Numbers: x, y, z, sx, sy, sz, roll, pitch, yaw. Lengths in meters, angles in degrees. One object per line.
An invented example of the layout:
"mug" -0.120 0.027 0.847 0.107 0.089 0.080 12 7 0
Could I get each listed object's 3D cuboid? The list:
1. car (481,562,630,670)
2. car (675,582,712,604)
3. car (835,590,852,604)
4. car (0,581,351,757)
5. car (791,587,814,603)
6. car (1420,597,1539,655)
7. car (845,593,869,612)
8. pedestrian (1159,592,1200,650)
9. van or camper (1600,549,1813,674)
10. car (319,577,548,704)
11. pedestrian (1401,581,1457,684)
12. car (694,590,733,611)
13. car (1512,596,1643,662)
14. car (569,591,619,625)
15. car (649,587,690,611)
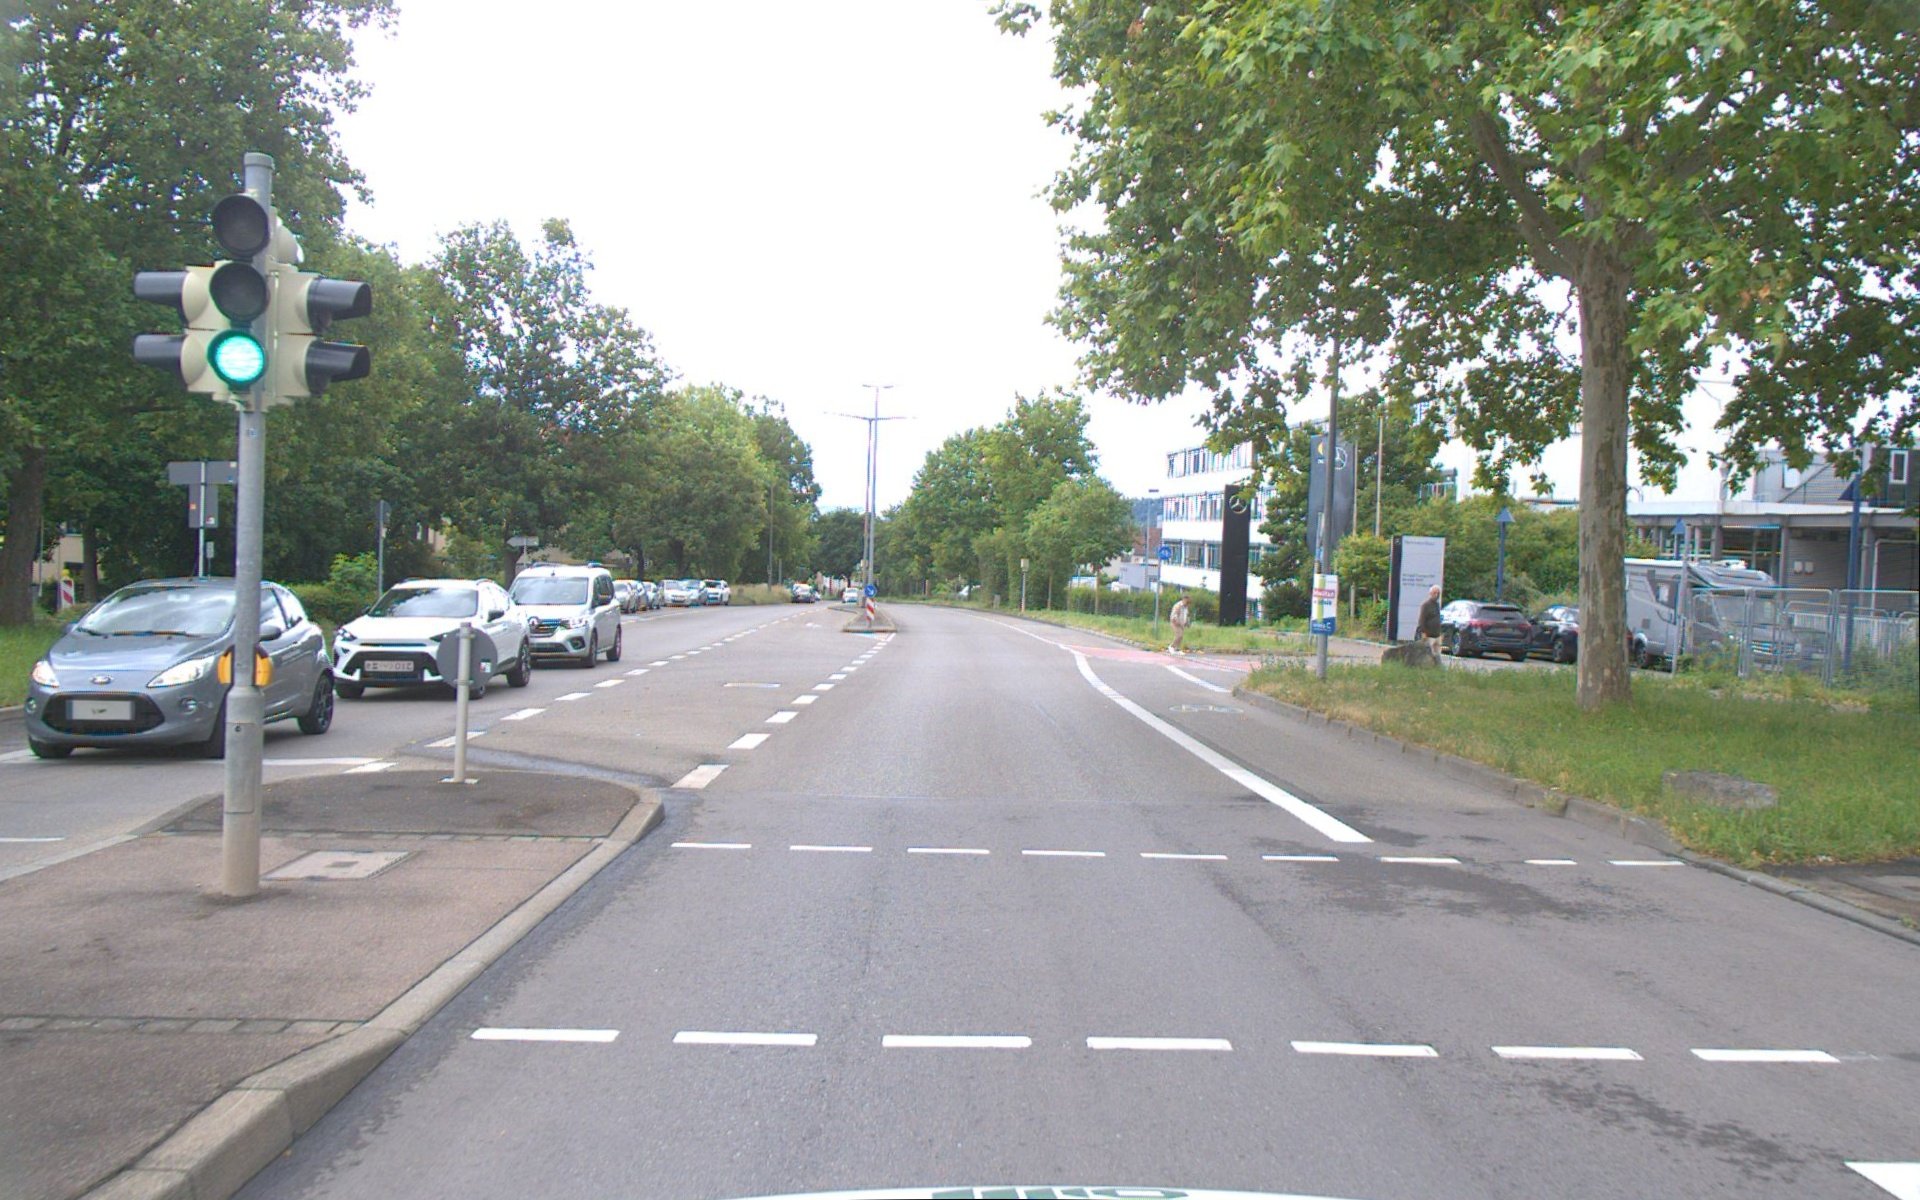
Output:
"car" -7.347 0.251 30.486 1.809 1.835 4.648 0 0 -3
"car" -16.821 -0.458 104.520 1.638 1.327 4.000 2 0 0
"car" -11.934 -0.325 169.590 1.579 1.327 3.998 2 0 -2
"car" -6.793 0.520 14.709 1.516 1.354 3.652 0 0 -2
"car" -14.022 -0.473 147.585 1.736 1.327 3.998 2 0 -2
"car" 13.505 0.649 43.263 1.676 1.378 4.343 1 0 -1
"car" -7.506 0.176 120.299 1.579 1.327 3.998 2 0 -2
"pedestrian" 5.754 0.547 43.359 0.777 1.489 0.744 1 0 -20
"van or camper" 18.988 0.246 42.547 1.926 2.918 6.915 1 0 -4
"car" -7.078 0.481 22.780 1.809 1.547 4.813 0 0 -3
"pedestrian" 8.526 0.576 30.075 0.733 1.833 0.860 1 0 33
"car" -16.291 0.032 109.516 1.637 1.327 4.002 2 0 4
"car" 16.162 0.723 43.508 1.676 1.534 4.343 3 0 -1
"car" -16.433 0.319 74.425 1.640 1.427 3.996 2 0 -5
"car" -17.349 -0.045 98.700 1.648 1.327 3.976 2 0 -20
